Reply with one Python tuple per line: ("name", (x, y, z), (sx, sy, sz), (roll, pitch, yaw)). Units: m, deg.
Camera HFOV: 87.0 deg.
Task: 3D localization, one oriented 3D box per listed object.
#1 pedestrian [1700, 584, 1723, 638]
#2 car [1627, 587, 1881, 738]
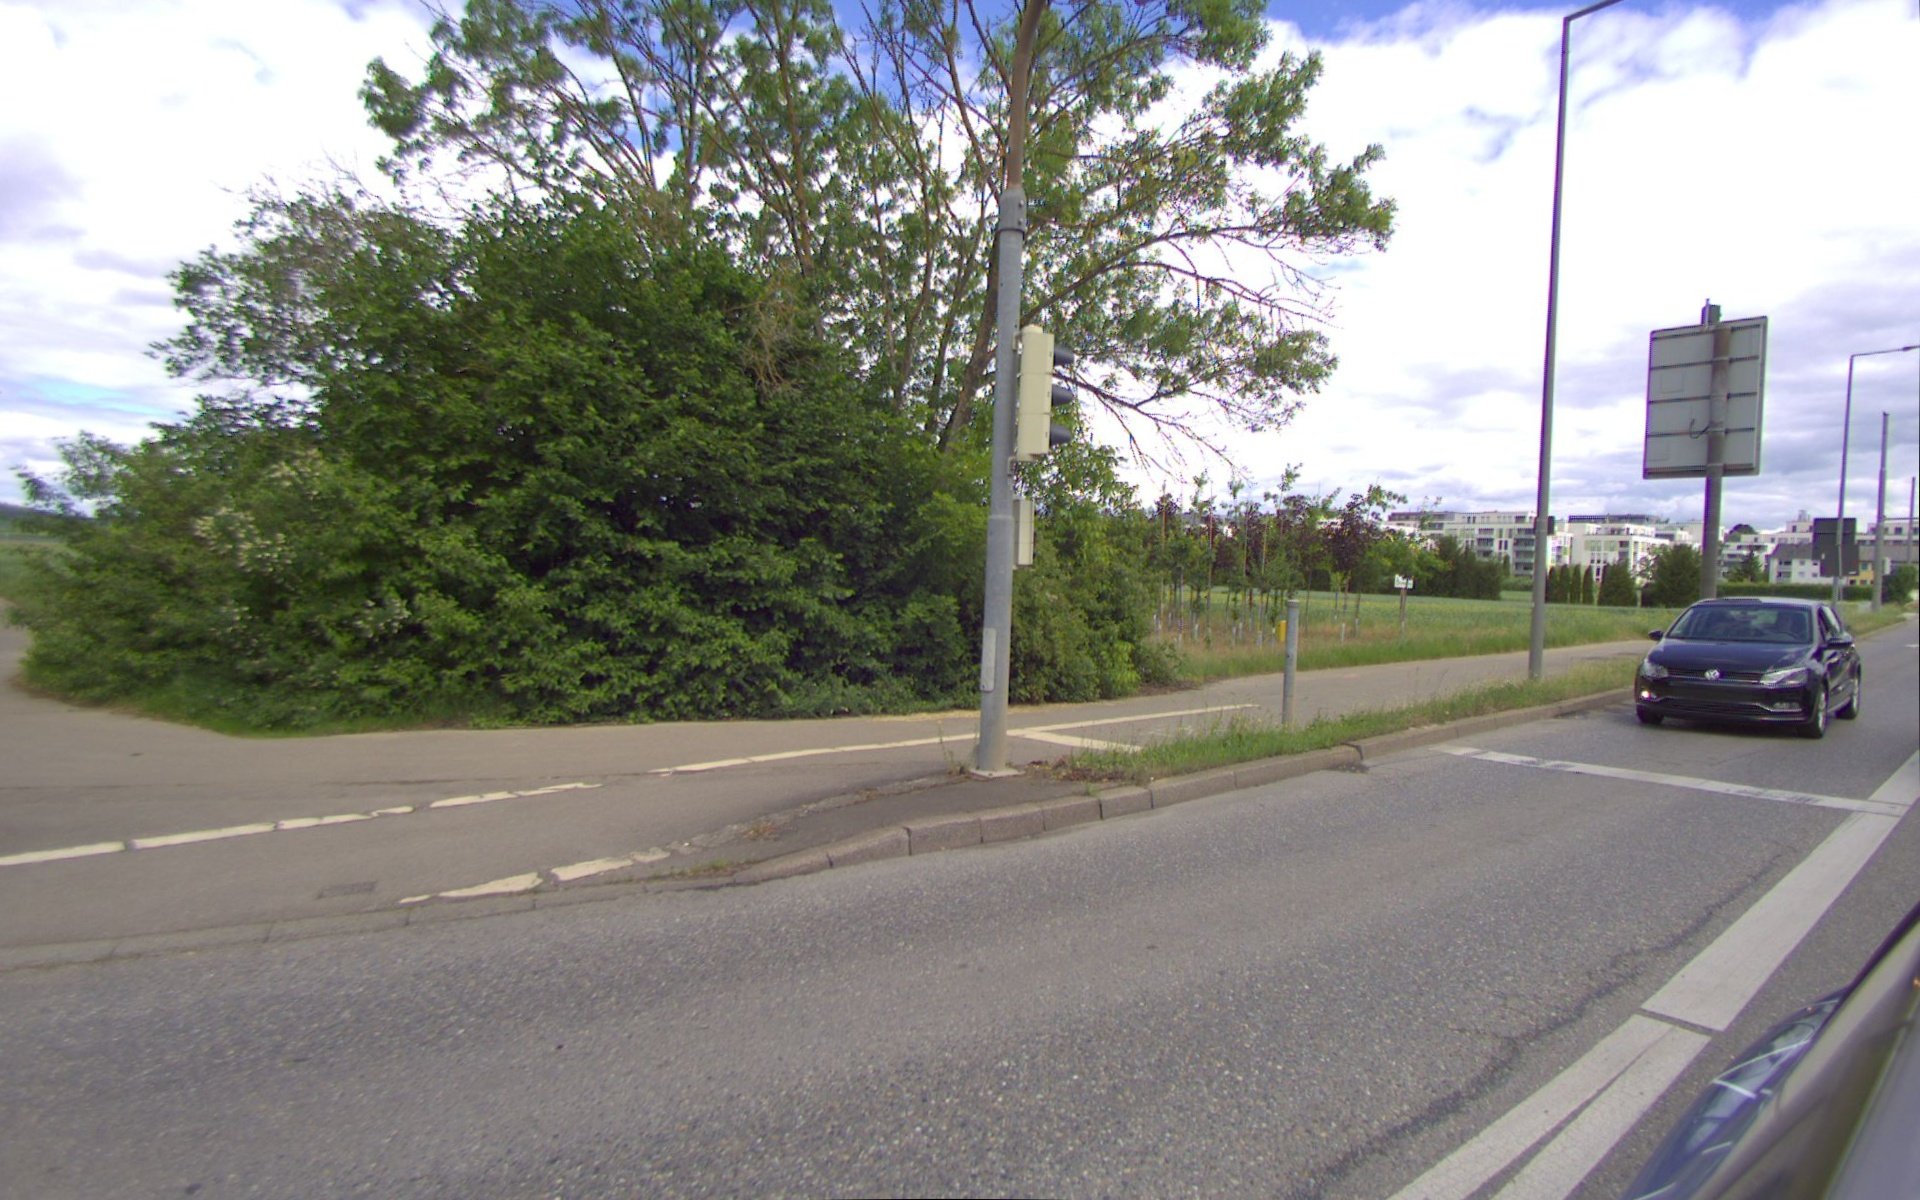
("pedestrian", (24.130, 0.352, 32.491), (0.615, 1.724, 0.492), (-1, 1, -43))
("car", (9.347, 0.591, 11.825), (3.675, 1.436, 1.681), (-1, 2, -41))
